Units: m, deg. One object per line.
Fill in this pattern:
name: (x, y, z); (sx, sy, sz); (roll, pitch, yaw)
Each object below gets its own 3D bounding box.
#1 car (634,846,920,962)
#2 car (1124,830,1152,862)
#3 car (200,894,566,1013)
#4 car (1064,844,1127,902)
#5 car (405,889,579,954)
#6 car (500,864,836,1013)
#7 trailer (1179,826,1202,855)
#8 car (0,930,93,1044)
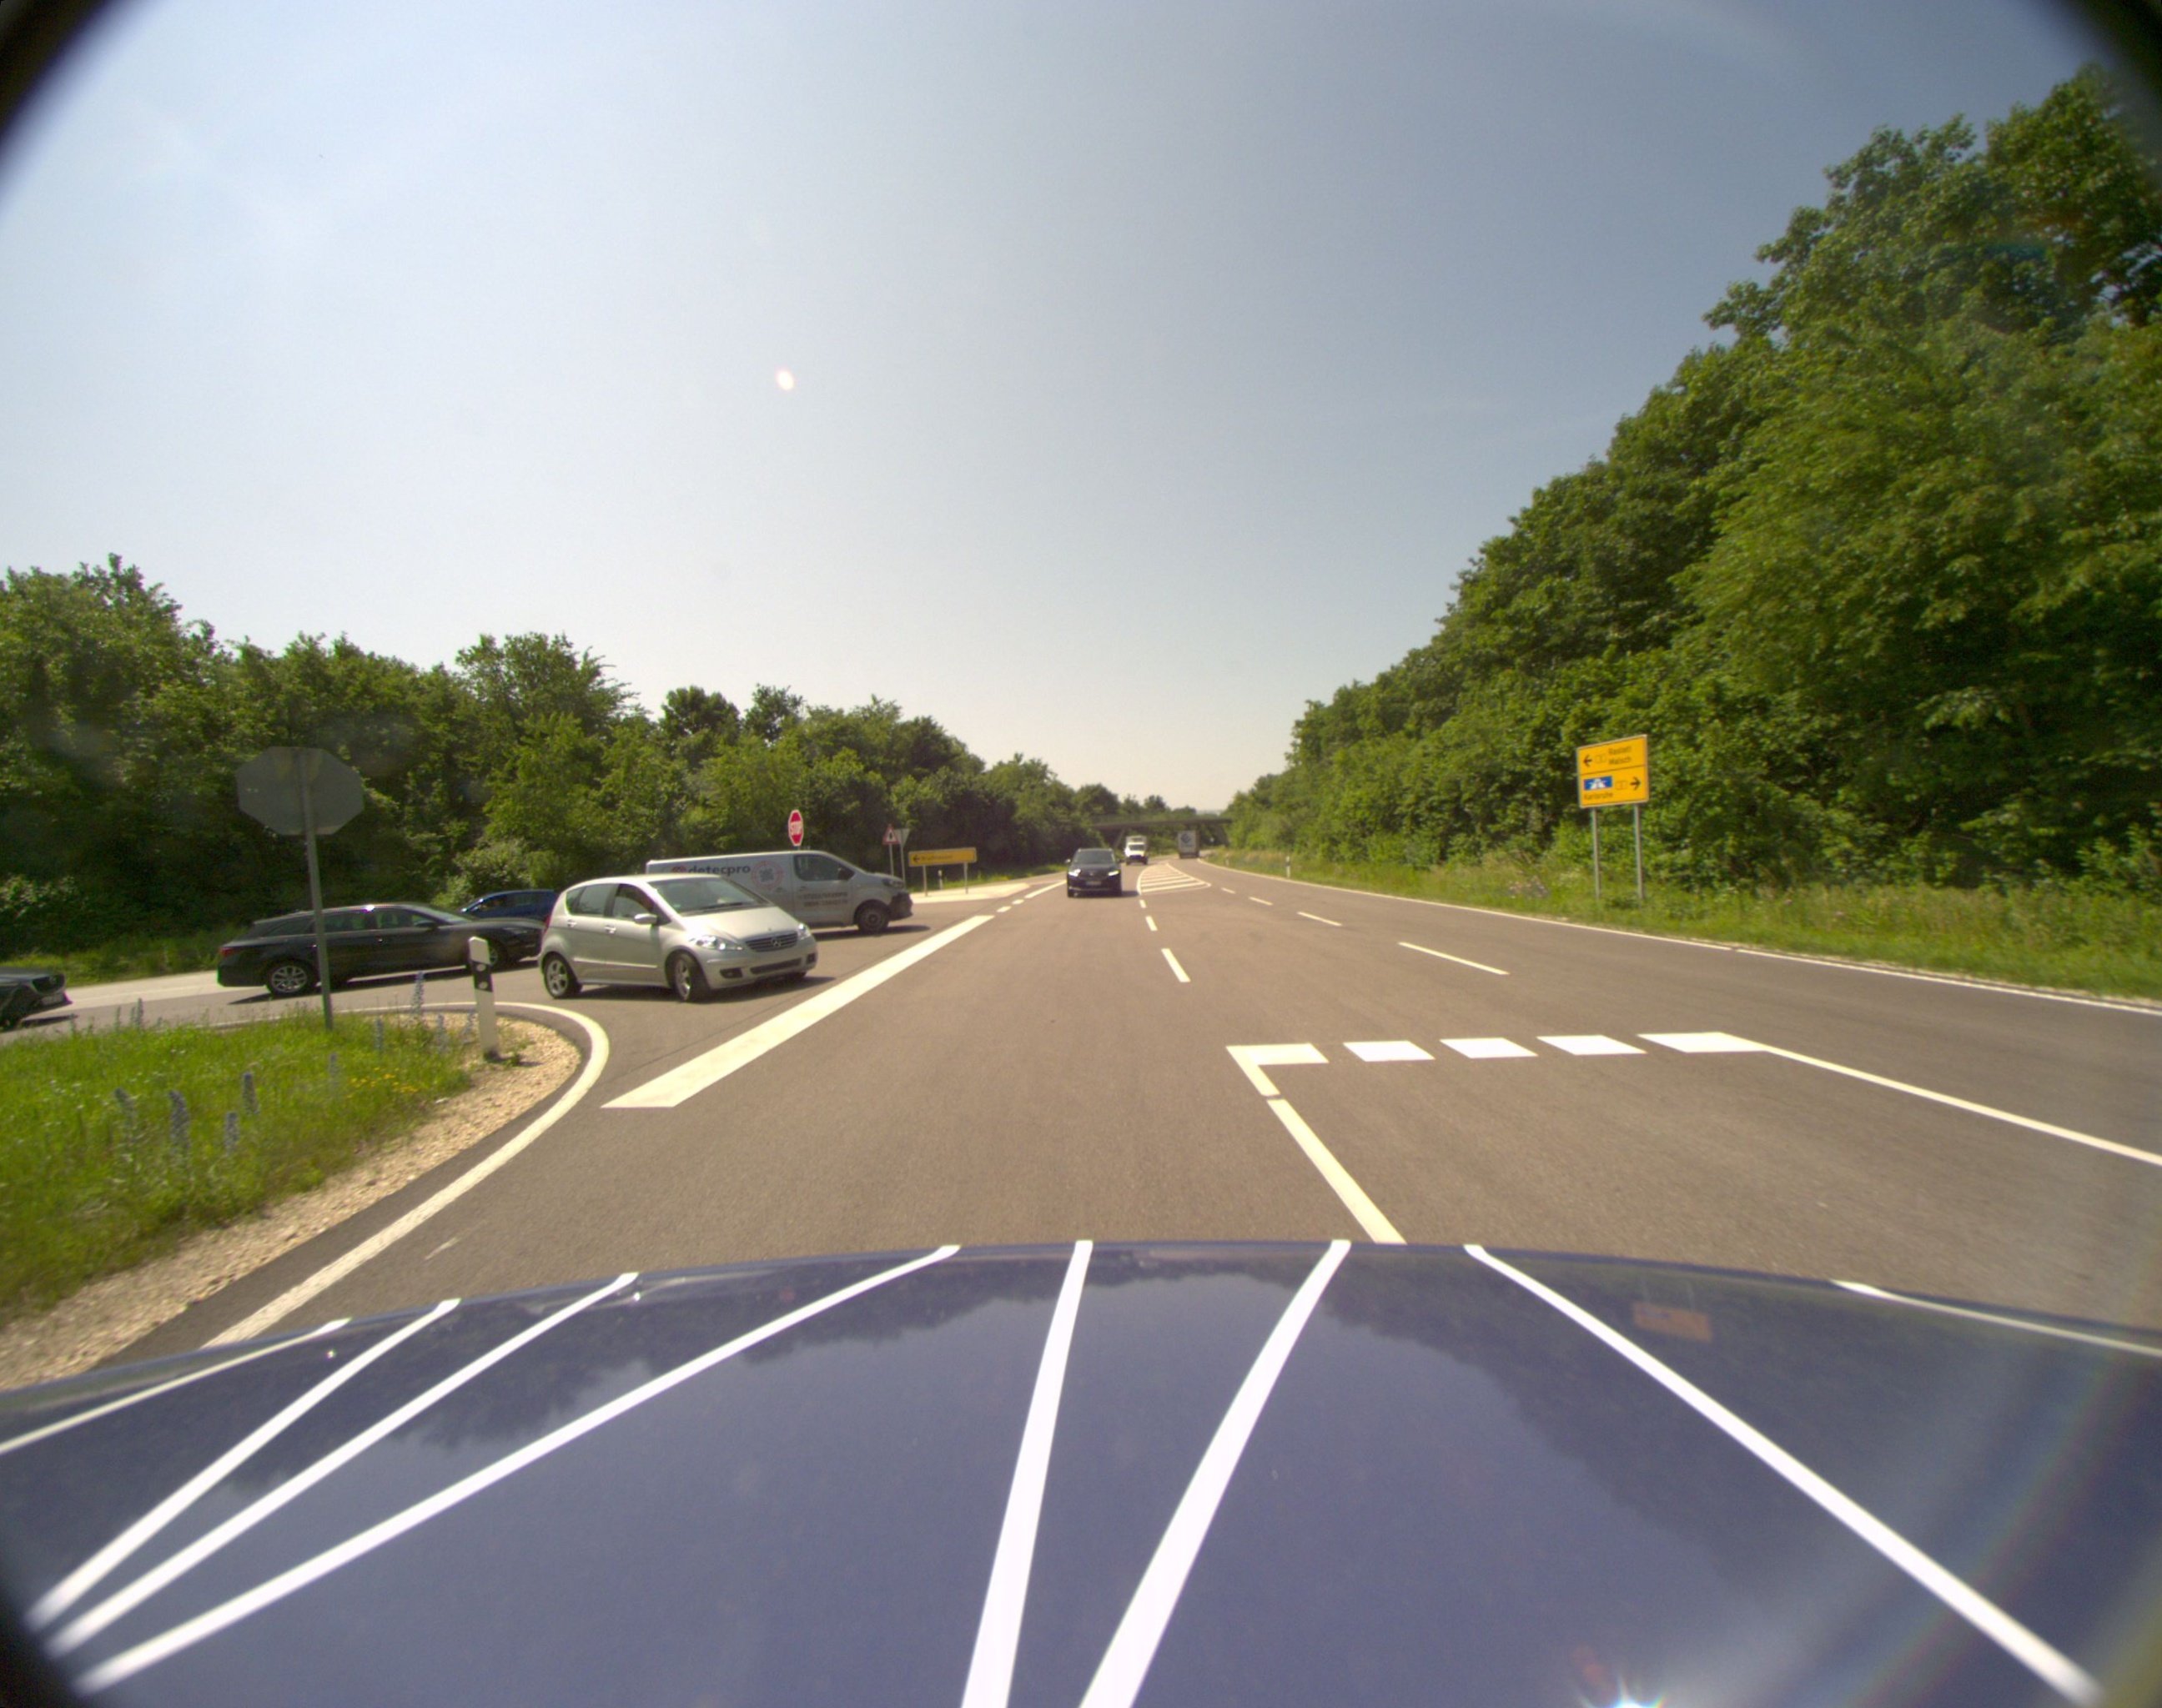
car: (-6.242, 0.944, 16.210); (5.233, 1.896, 2.010); (-4, 2, -17)
car: (5.893, -0.860, 77.954); (2.591, 3.047, 6.883); (-2, 1, 5)
car: (-12.627, 1.724, 14.200); (4.567, 1.465, 1.865); (-5, 1, -22)
car: (0.480, 0.564, 26.573); (1.924, 1.711, 5.477); (-2, 1, 0)
car: (-18.166, 2.030, 23.572); (1.805, 1.532, 3.952); (-4, 0, 43)
car: (-5.529, 1.122, 10.167); (3.985, 1.570, 1.848); (-5, 0, 26)
trailer: (16.200, -1.995, 112.228); (2.833, 4.072, 9.007); (-2, 1, 11)
car: (-18.676, 2.289, 11.463); (4.101, 1.590, 1.807); (-6, 3, -31)
